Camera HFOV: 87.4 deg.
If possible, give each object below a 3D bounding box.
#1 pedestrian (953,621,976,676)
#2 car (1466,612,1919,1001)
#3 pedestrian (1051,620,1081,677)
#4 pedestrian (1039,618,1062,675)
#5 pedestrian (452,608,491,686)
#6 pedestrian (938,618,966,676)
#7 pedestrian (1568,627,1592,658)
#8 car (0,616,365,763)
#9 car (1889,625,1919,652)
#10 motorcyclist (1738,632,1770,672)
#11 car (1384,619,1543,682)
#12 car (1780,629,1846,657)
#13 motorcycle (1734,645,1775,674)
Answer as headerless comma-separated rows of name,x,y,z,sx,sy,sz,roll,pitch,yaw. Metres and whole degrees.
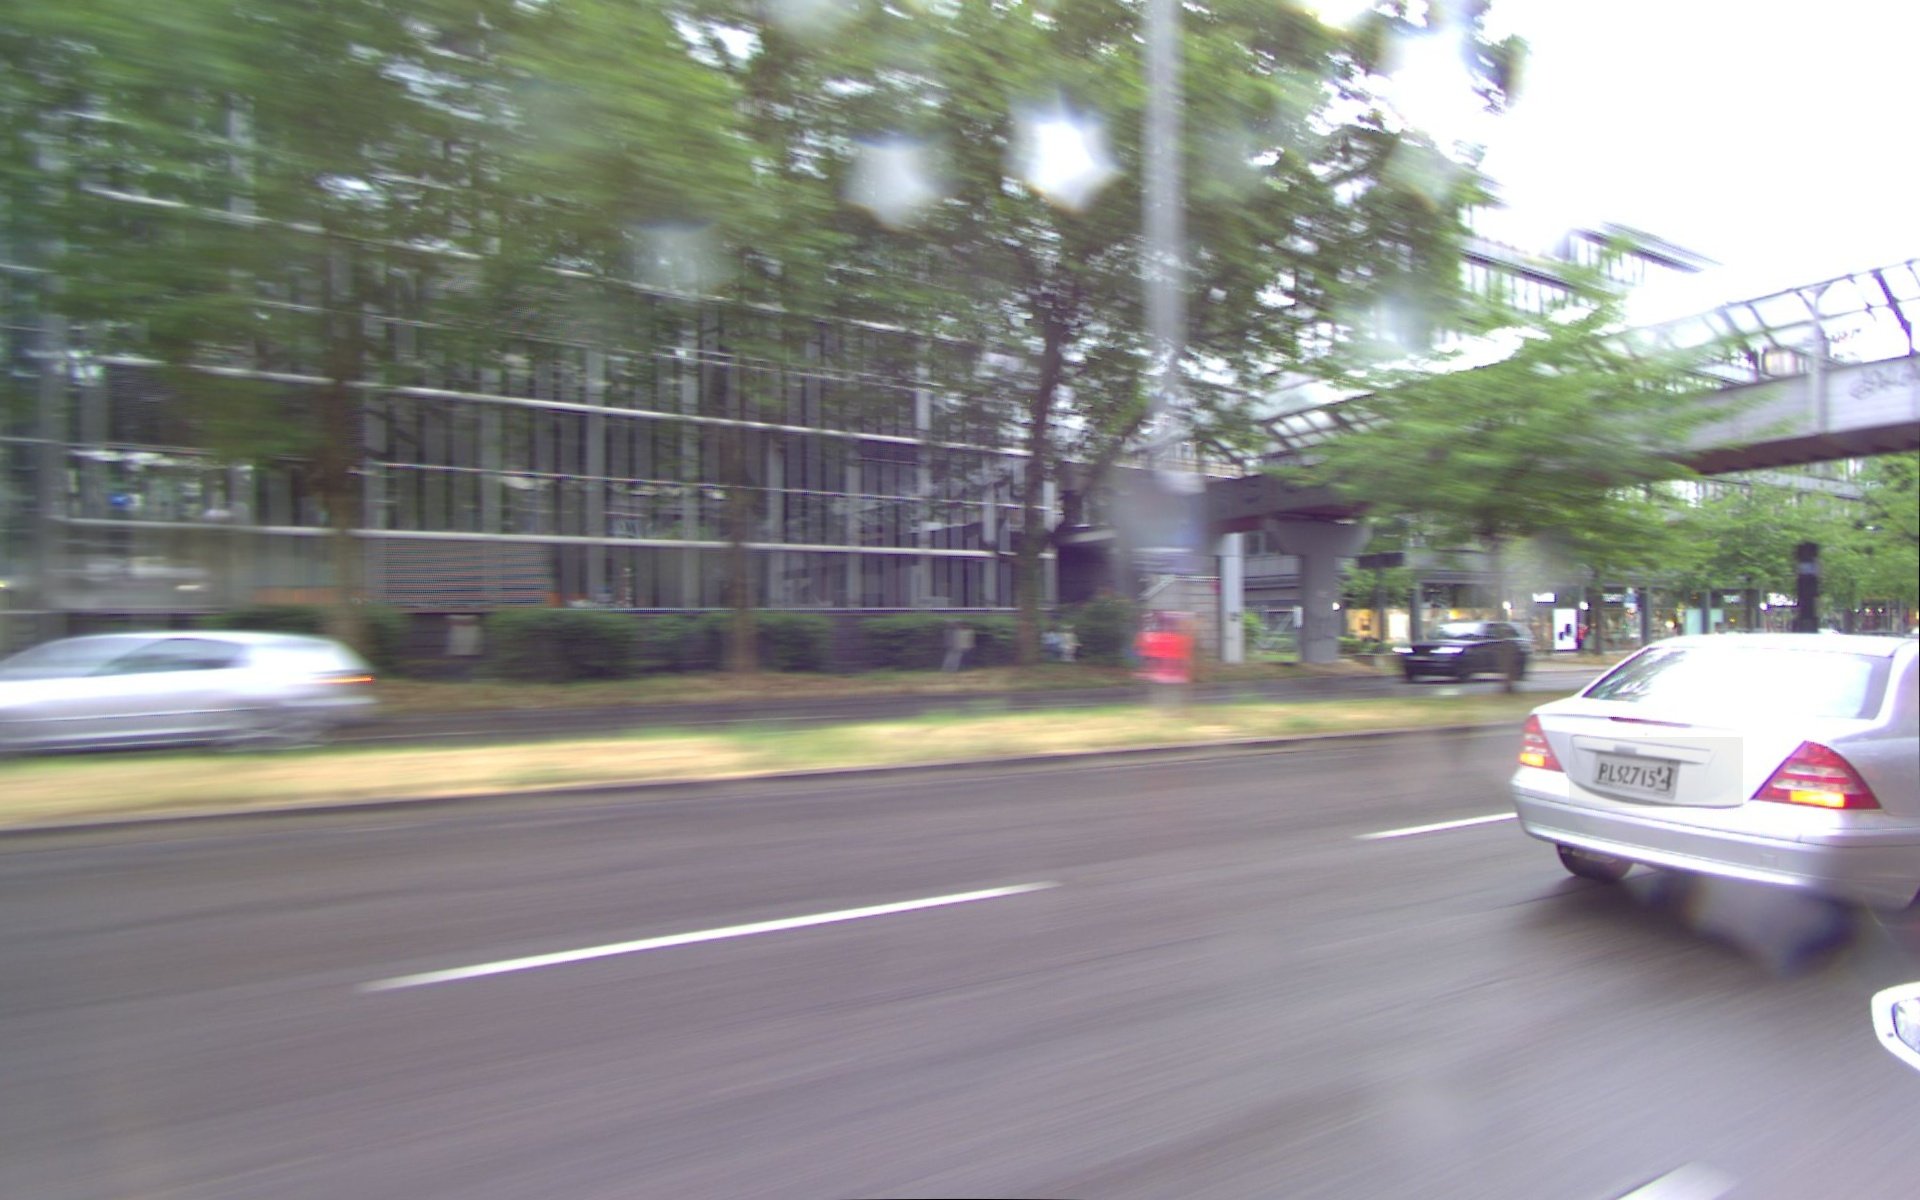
pedestrian,0.147,1.508,31.560,0.505,1.708,0.557,1,-1,-30
car,4.979,0.877,5.725,4.309,1.498,1.664,2,-1,-30
pedestrian,3.450,1.555,32.680,0.751,1.832,0.593,1,-1,-30
pedestrian,2.991,1.526,33.178,0.505,1.832,0.602,1,-1,-30
pedestrian,-11.684,1.111,24.028,0.793,1.832,0.731,1,-1,-30
pedestrian,-0.265,1.495,32.043,0.610,1.832,0.719,1,-1,-30
pedestrian,34.631,2.375,56.119,1.045,1.738,0.739,1,-1,-31
car,-9.199,0.982,11.522,4.037,1.483,1.653,2,-4,-33
car,61.384,2.471,64.424,4.185,1.632,1.614,1,0,-32
motorcyclist,29.265,1.916,37.019,0.958,1.437,0.635,2,-2,-30
car,15.552,1.562,30.954,5.129,1.791,1.990,2,-5,-33
car,47.454,2.406,55.862,4.397,1.451,1.615,2,-2,-32
motorcycle,29.307,2.190,37.043,1.784,1.035,0.581,1,-1,-30
